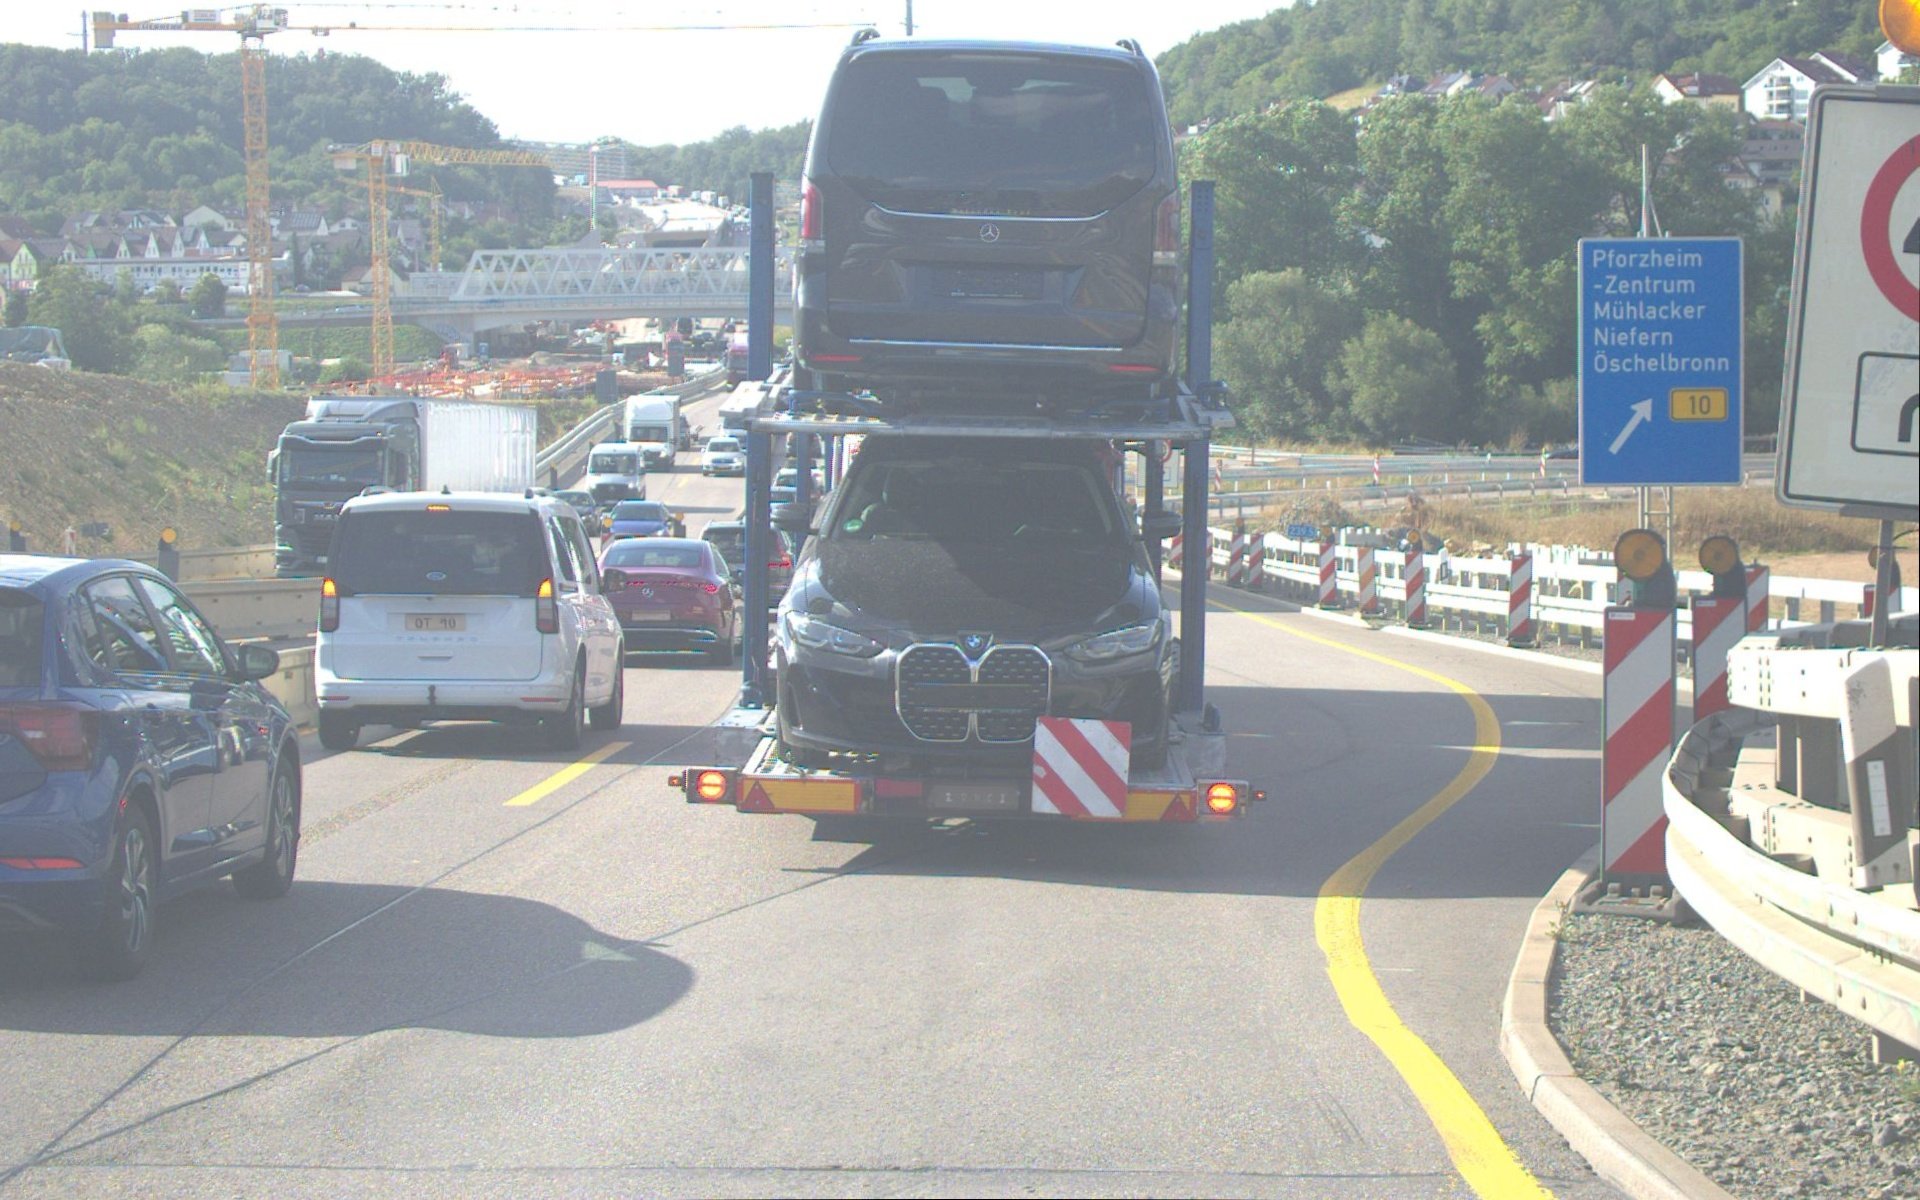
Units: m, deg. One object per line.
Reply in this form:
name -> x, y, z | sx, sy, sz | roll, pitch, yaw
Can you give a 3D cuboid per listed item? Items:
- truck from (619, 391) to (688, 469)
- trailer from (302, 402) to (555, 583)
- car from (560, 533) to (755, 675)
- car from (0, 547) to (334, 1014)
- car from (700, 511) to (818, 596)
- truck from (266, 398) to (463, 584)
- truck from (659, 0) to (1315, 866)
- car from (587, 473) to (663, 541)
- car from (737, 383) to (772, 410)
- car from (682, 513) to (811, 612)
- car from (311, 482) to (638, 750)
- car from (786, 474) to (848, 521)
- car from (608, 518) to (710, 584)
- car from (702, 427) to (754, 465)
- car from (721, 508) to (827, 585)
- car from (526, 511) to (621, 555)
truck -> -14.392, -7.972, 161.872 | 2.700, 3.300, 7.538 | 1, 0, -1
trailer -> -12.170, -2.348, 80.296 | 2.821, 3.828, 13.802 | 1, 0, 4
car -> -3.497, 0.027, 40.518 | 1.993, 1.551, 4.401 | 1, 0, -1
car -> -3.551, 0.534, 12.734 | 1.722, 1.417, 4.000 | 0, 1, 0
car -> -3.813, -0.880, 65.714 | 1.993, 1.547, 4.000 | 1, 0, 0
truck -> -12.659, -2.263, 73.572 | 2.777, 3.775, 6.017 | 1, 0, 4
truck -> 0.127, -0.925, 24.514 | 2.753, 3.941, 18.890 | 2, 0, 0
car -> -12.395, -3.432, 127.541 | 2.258, 2.394, 5.868 | 1, 0, -1
car -> -12.425, -12.289, 207.738 | 1.852, 1.629, 4.750 | 1, 3, -1
car -> -3.568, -0.615, 56.892 | 1.993, 1.547, 4.001 | 1, 0, -5
car -> -3.469, 0.091, 25.241 | 1.823, 1.786, 4.000 | 1, 0, 0
car -> -5.015, -3.581, 120.724 | 1.993, 1.547, 4.000 | 1, 0, 0
car -> -8.073, -1.301, 92.472 | 1.994, 1.720, 4.122 | 1, 0, 5
car -> -10.496, -7.000, 155.741 | 2.125, 1.668, 4.273 | 1, 3, -1
car -> -3.907, -1.124, 72.732 | 1.993, 1.547, 4.000 | 1, 0, 0
car -> -11.832, -2.048, 105.475 | 1.920, 1.268, 3.999 | 1, 0, 8
